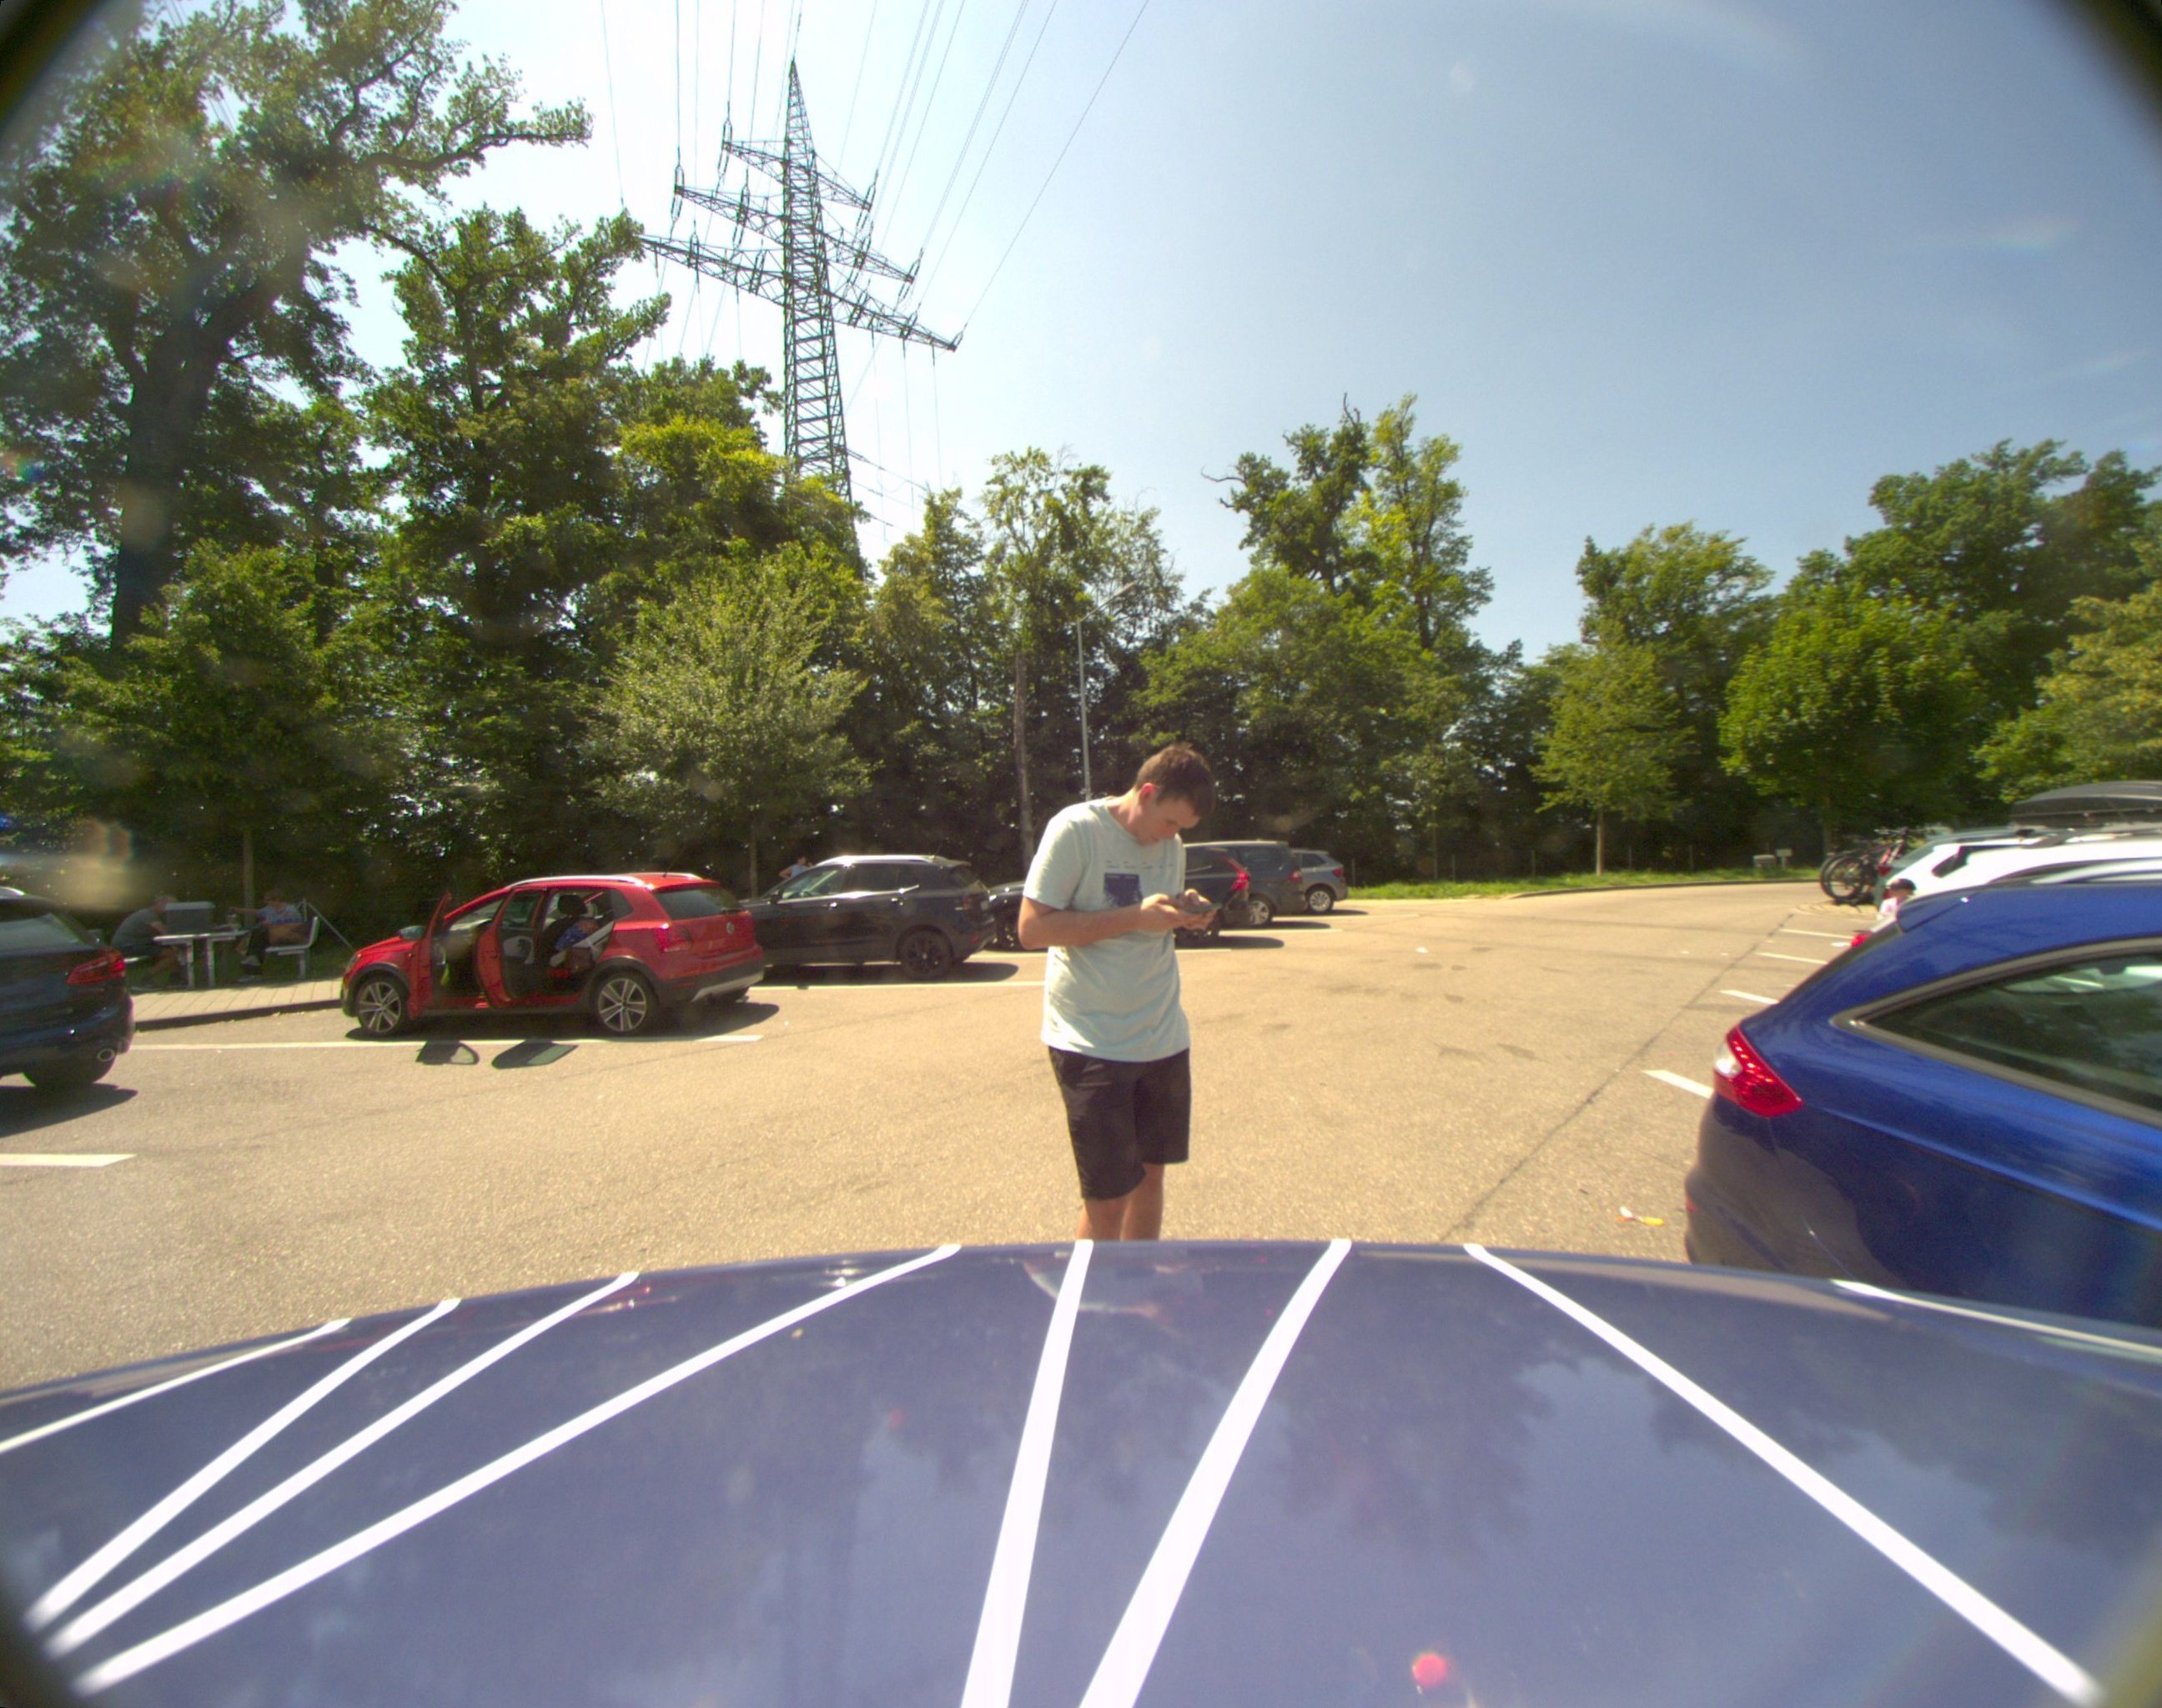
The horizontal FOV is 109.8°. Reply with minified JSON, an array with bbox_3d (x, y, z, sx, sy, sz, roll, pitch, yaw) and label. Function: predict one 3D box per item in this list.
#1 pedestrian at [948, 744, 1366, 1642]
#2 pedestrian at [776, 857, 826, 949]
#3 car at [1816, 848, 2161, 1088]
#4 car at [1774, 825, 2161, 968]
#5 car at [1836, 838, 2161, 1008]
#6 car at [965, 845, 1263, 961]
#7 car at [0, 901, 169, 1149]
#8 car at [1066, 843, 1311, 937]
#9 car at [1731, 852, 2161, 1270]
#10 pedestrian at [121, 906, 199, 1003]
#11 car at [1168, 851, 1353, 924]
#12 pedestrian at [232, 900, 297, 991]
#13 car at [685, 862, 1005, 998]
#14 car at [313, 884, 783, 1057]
[{"bbox_3d":[0.185,0.721,2.122,0.862,1.940,0.687,-3,1,-26],"label":"pedestrian"},{"bbox_3d":[-5.777,0.984,15.682,0.767,1.821,0.519,-3,2,-39],"label":"pedestrian"},{"bbox_3d":[7.480,0.679,4.510,1.776,1.418,4.495,-3,-1,-1],"label":"car"},{"bbox_3d":[12.544,0.480,10.368,1.777,1.541,4.493,-3,-1,-5],"label":"car"},{"bbox_3d":[10.113,0.575,6.897,1.777,1.418,4.493,-3,-1,-5],"label":"car"},{"bbox_3d":[0.571,0.774,12.876,4.612,1.703,2.001,-2,1,6],"label":"car"},{"bbox_3d":[-8.880,1.173,4.990,3.934,1.534,1.812,-2,0,7],"label":"car"},{"bbox_3d":[2.144,0.718,15.469,4.619,1.701,1.740,-2,0,9],"label":"car"},{"bbox_3d":[4.877,0.748,2.352,1.776,1.491,4.495,-3,-1,-1],"label":"car"},{"bbox_3d":[-12.627,1.352,10.437,0.695,1.228,0.588,-3,0,43],"label":"pedestrian"},{"bbox_3d":[4.148,0.748,18.007,3.996,1.495,1.687,-2,1,3],"label":"car"},{"bbox_3d":[-11.946,1.318,11.125,0.695,1.228,0.588,-3,0,43],"label":"pedestrian"},{"bbox_3d":[-3.028,0.957,10.312,3.732,1.578,1.739,-2,0,2],"label":"car"},{"bbox_3d":[-5.185,1.100,7.635,3.730,1.440,1.591,-2,0,7],"label":"car"}]
